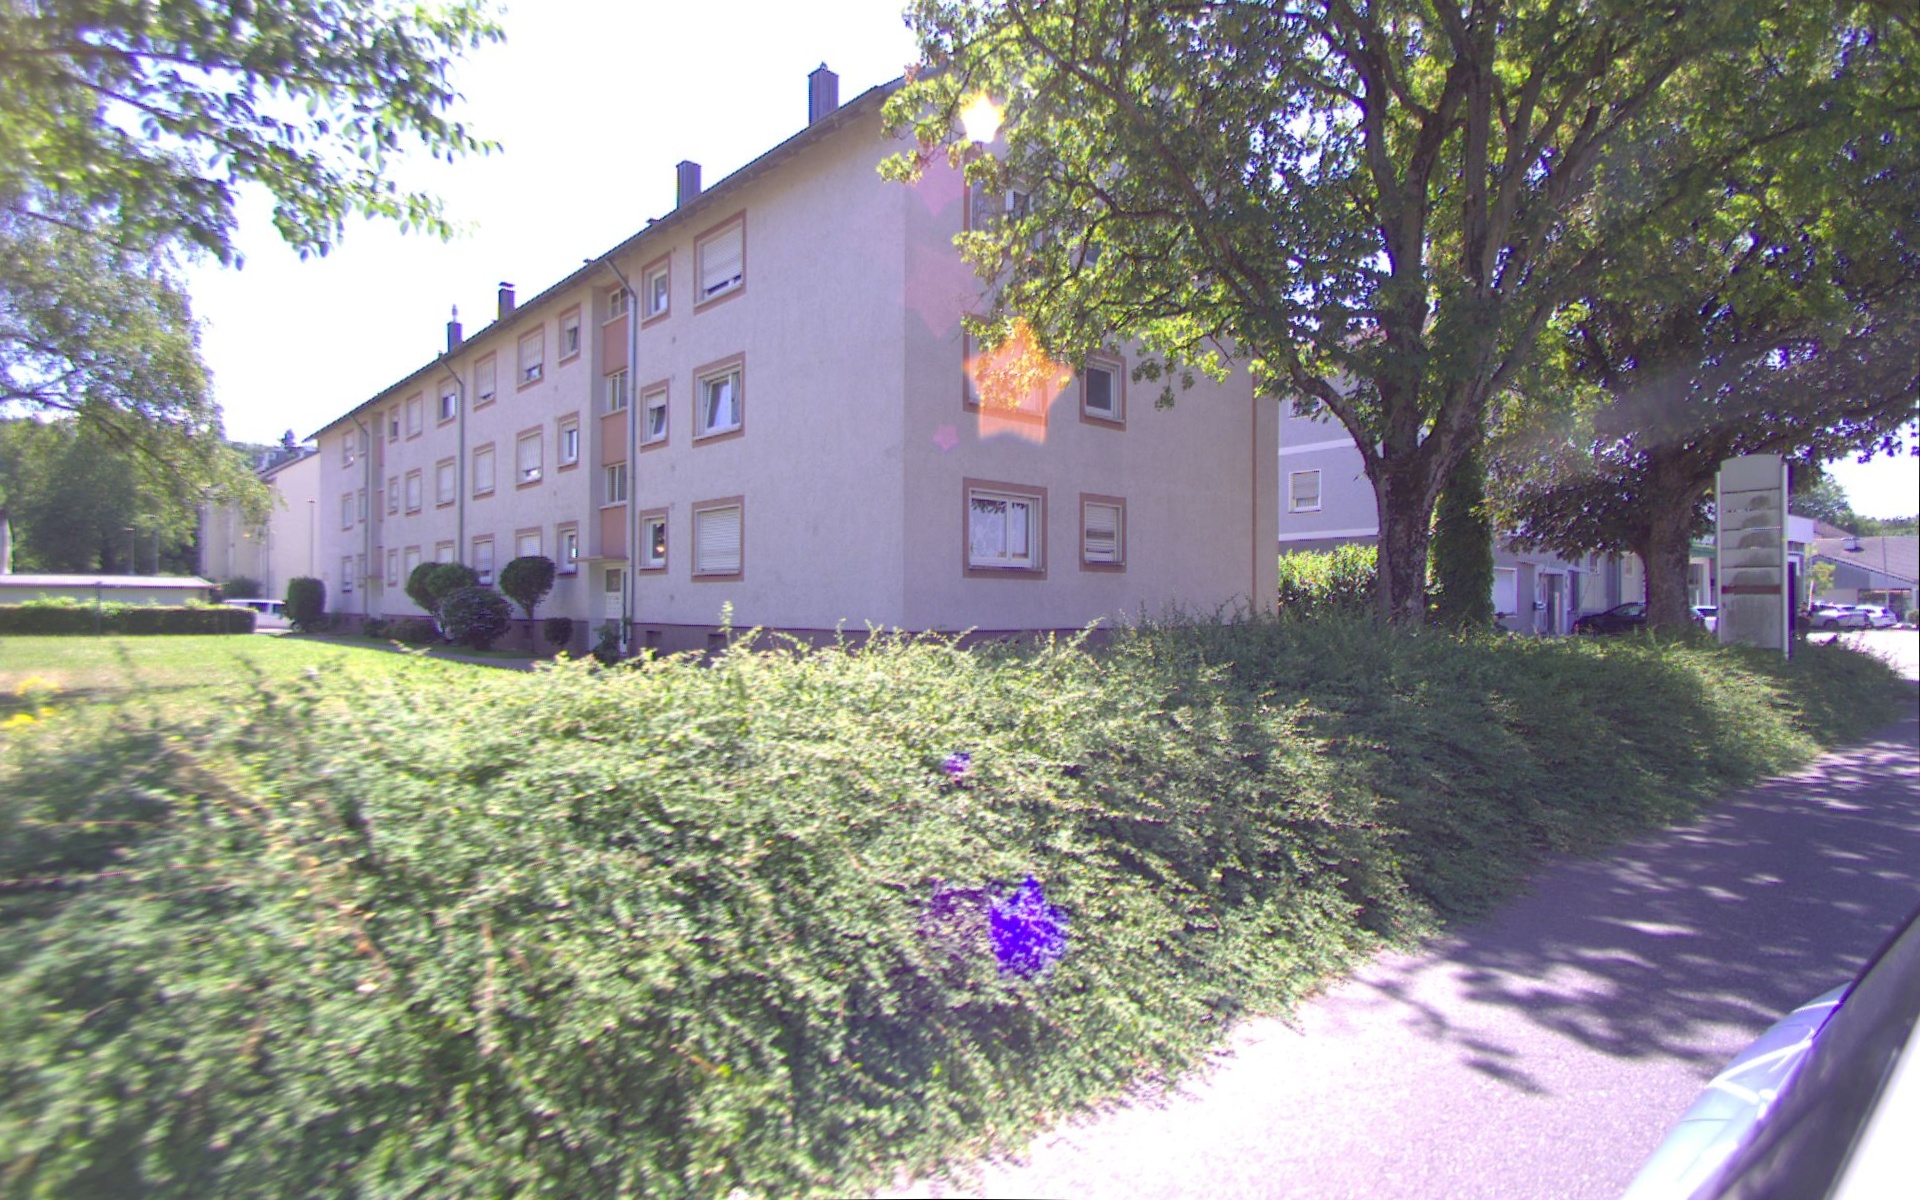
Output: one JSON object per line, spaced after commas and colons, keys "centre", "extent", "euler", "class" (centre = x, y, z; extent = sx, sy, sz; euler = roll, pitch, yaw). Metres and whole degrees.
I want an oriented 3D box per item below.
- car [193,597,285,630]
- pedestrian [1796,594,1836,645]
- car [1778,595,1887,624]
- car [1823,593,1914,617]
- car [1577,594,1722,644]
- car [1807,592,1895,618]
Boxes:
{"centre": [-41.484, 0.763, 58.305], "extent": [3.874, 1.846, 1.957], "euler": [0, 0, -12], "class": "car"}
{"centre": [28.897, 0.643, 34.166], "extent": [0.991, 1.662, 0.842], "euler": [0, 0, -36], "class": "pedestrian"}
{"centre": [52.670, 0.527, 61.227], "extent": [1.958, 1.662, 4.606], "euler": [0, 1, -21], "class": "car"}
{"centre": [58.619, 0.289, 65.358], "extent": [1.768, 1.479, 4.007], "euler": [0, 1, -25], "class": "car"}
{"centre": [24.720, 0.623, 36.390], "extent": [1.766, 1.569, 3.995], "euler": [0, 2, -41], "class": "car"}
{"centre": [56.796, 0.308, 64.570], "extent": [1.643, 1.552, 3.875], "euler": [0, 1, -22], "class": "car"}
